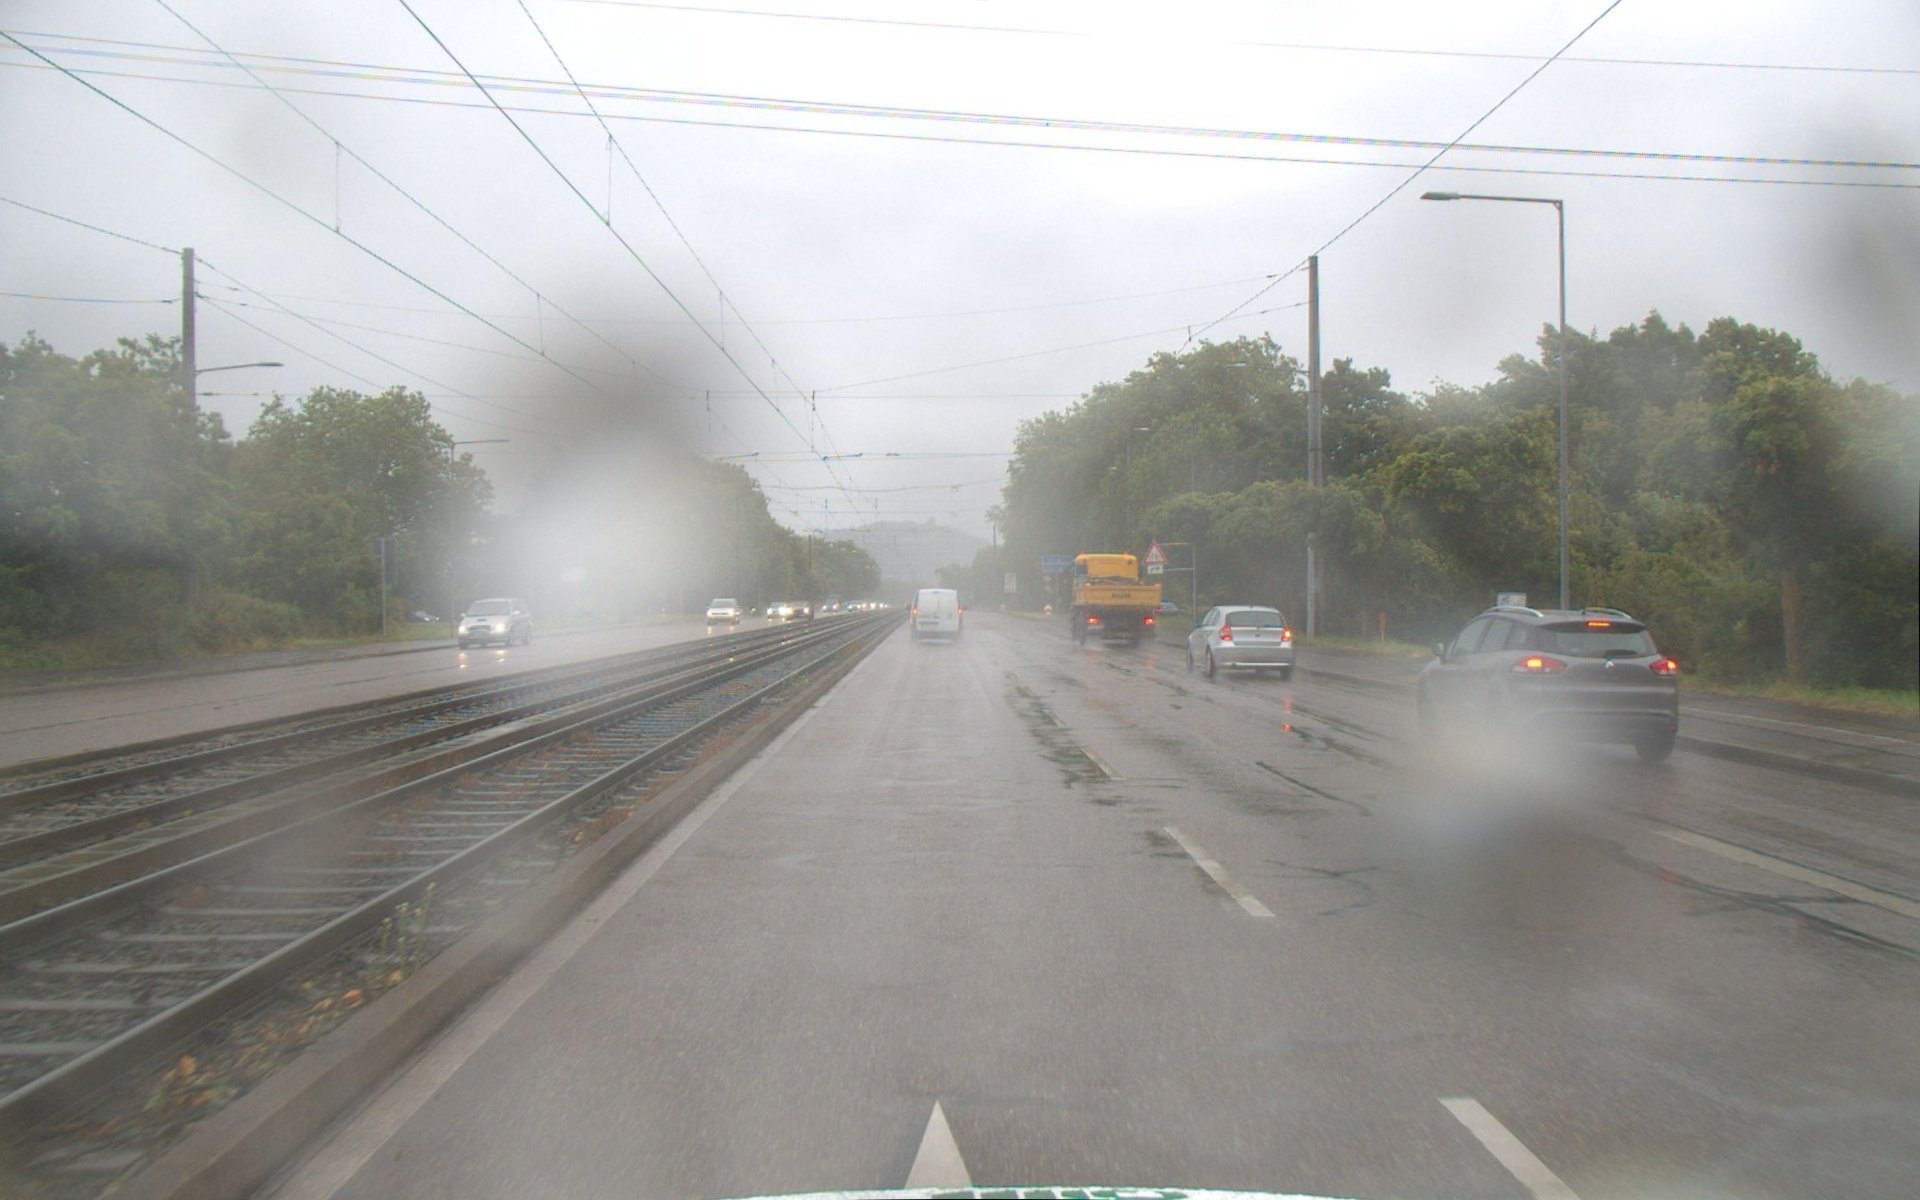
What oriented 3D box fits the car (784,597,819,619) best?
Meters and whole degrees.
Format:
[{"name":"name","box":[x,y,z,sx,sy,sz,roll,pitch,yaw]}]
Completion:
[{"name":"car","box":[-12.111,0.621,126.431,1.952,1.489,5.252,-2,1,2]}]

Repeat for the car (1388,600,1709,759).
[{"name":"car","box":[6.001,0.734,17.449,1.849,1.380,4.277,1,1,0]}]

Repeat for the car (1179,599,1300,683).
[{"name":"car","box":[5.659,0.786,34.000,1.593,1.529,4.605,1,1,-1]}]

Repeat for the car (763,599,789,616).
[{"name":"car","box":[-16.121,0.620,145.144,1.722,1.386,5.070,1,1,-1]}]

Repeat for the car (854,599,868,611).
[{"name":"car","box":[-13.131,0.658,219.262,1.706,1.377,4.545,1,1,-1]}]

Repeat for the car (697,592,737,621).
[{"name":"car","box":[-14.816,0.372,100.966,1.805,1.601,5.065,1,1,-1]}]

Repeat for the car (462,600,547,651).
[{"name":"car","box":[-16.599,0.906,60.540,1.788,1.663,5.135,1,1,-1]}]

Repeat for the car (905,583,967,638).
[{"name":"car","box":[-0.747,0.318,54.778,1.948,1.713,3.740,1,1,0]}]

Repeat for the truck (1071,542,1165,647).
[{"name":"truck","box":[5.278,-0.232,56.173,2.503,3.314,6.933,1,1,0]}]
